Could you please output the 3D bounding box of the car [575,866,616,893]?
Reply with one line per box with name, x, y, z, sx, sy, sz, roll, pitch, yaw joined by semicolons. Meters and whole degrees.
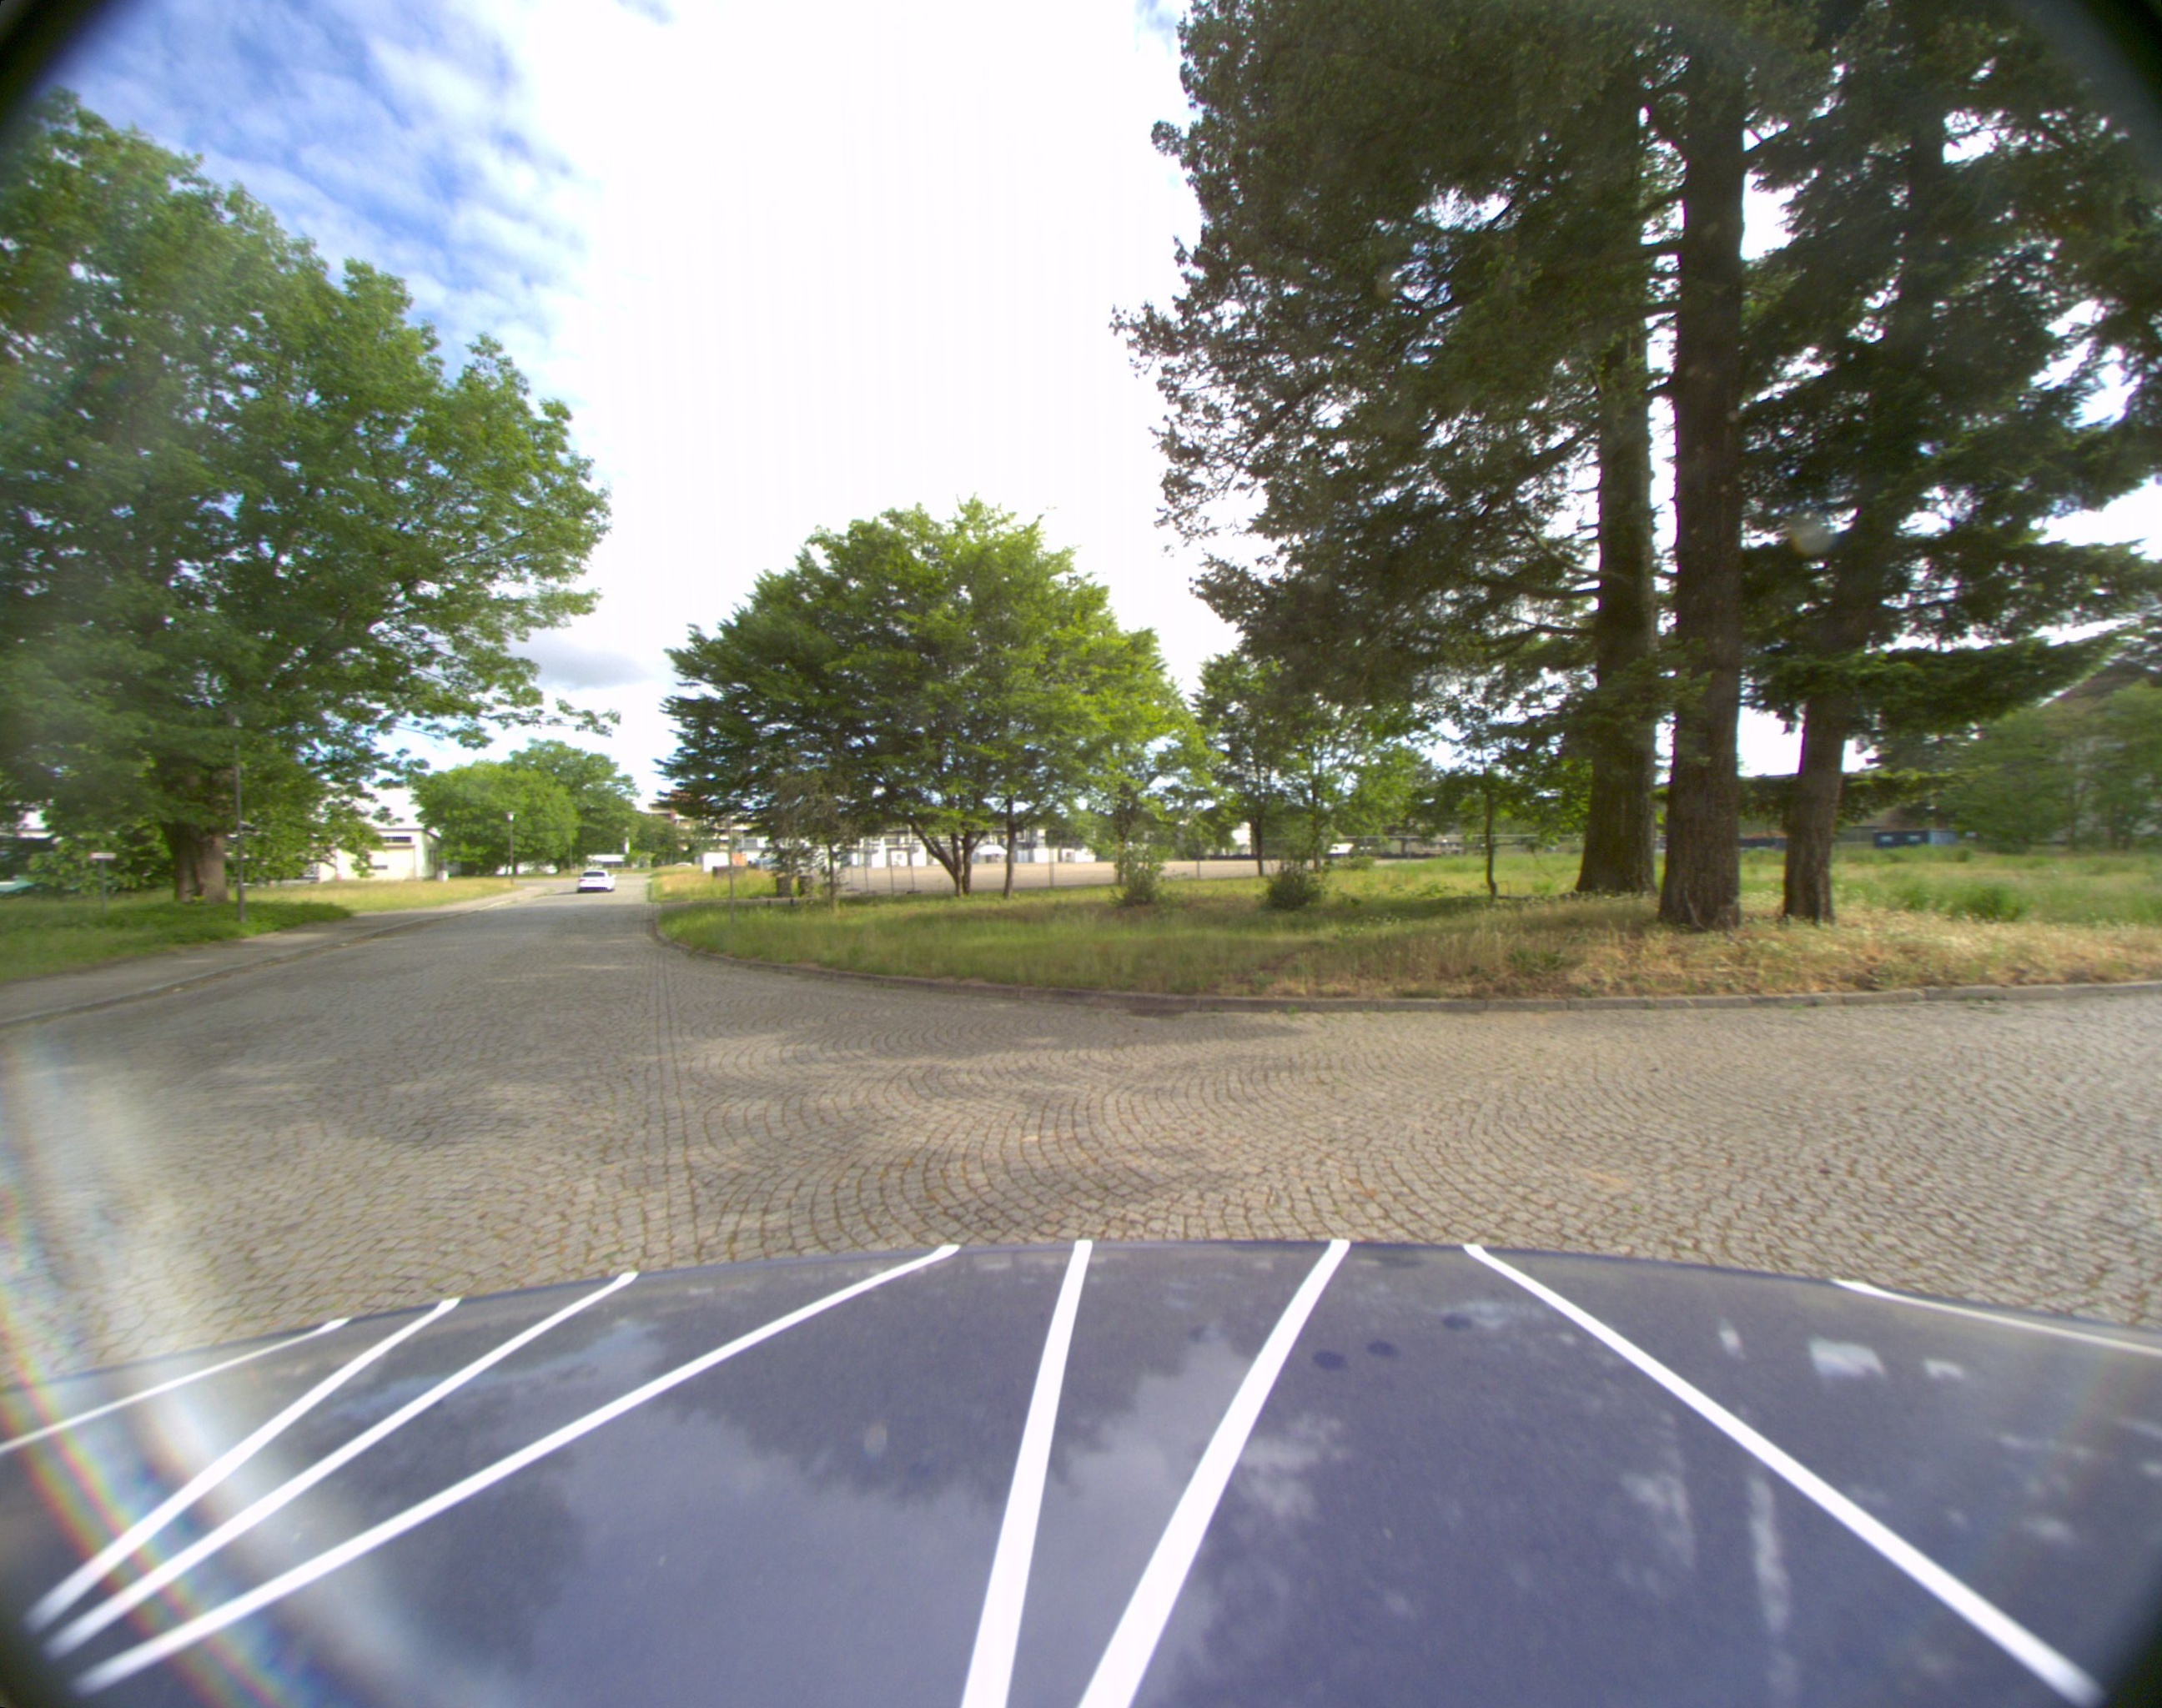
car;-30.263;1.552;47.459;1.857;1.429;4.695;-3;1;-30
